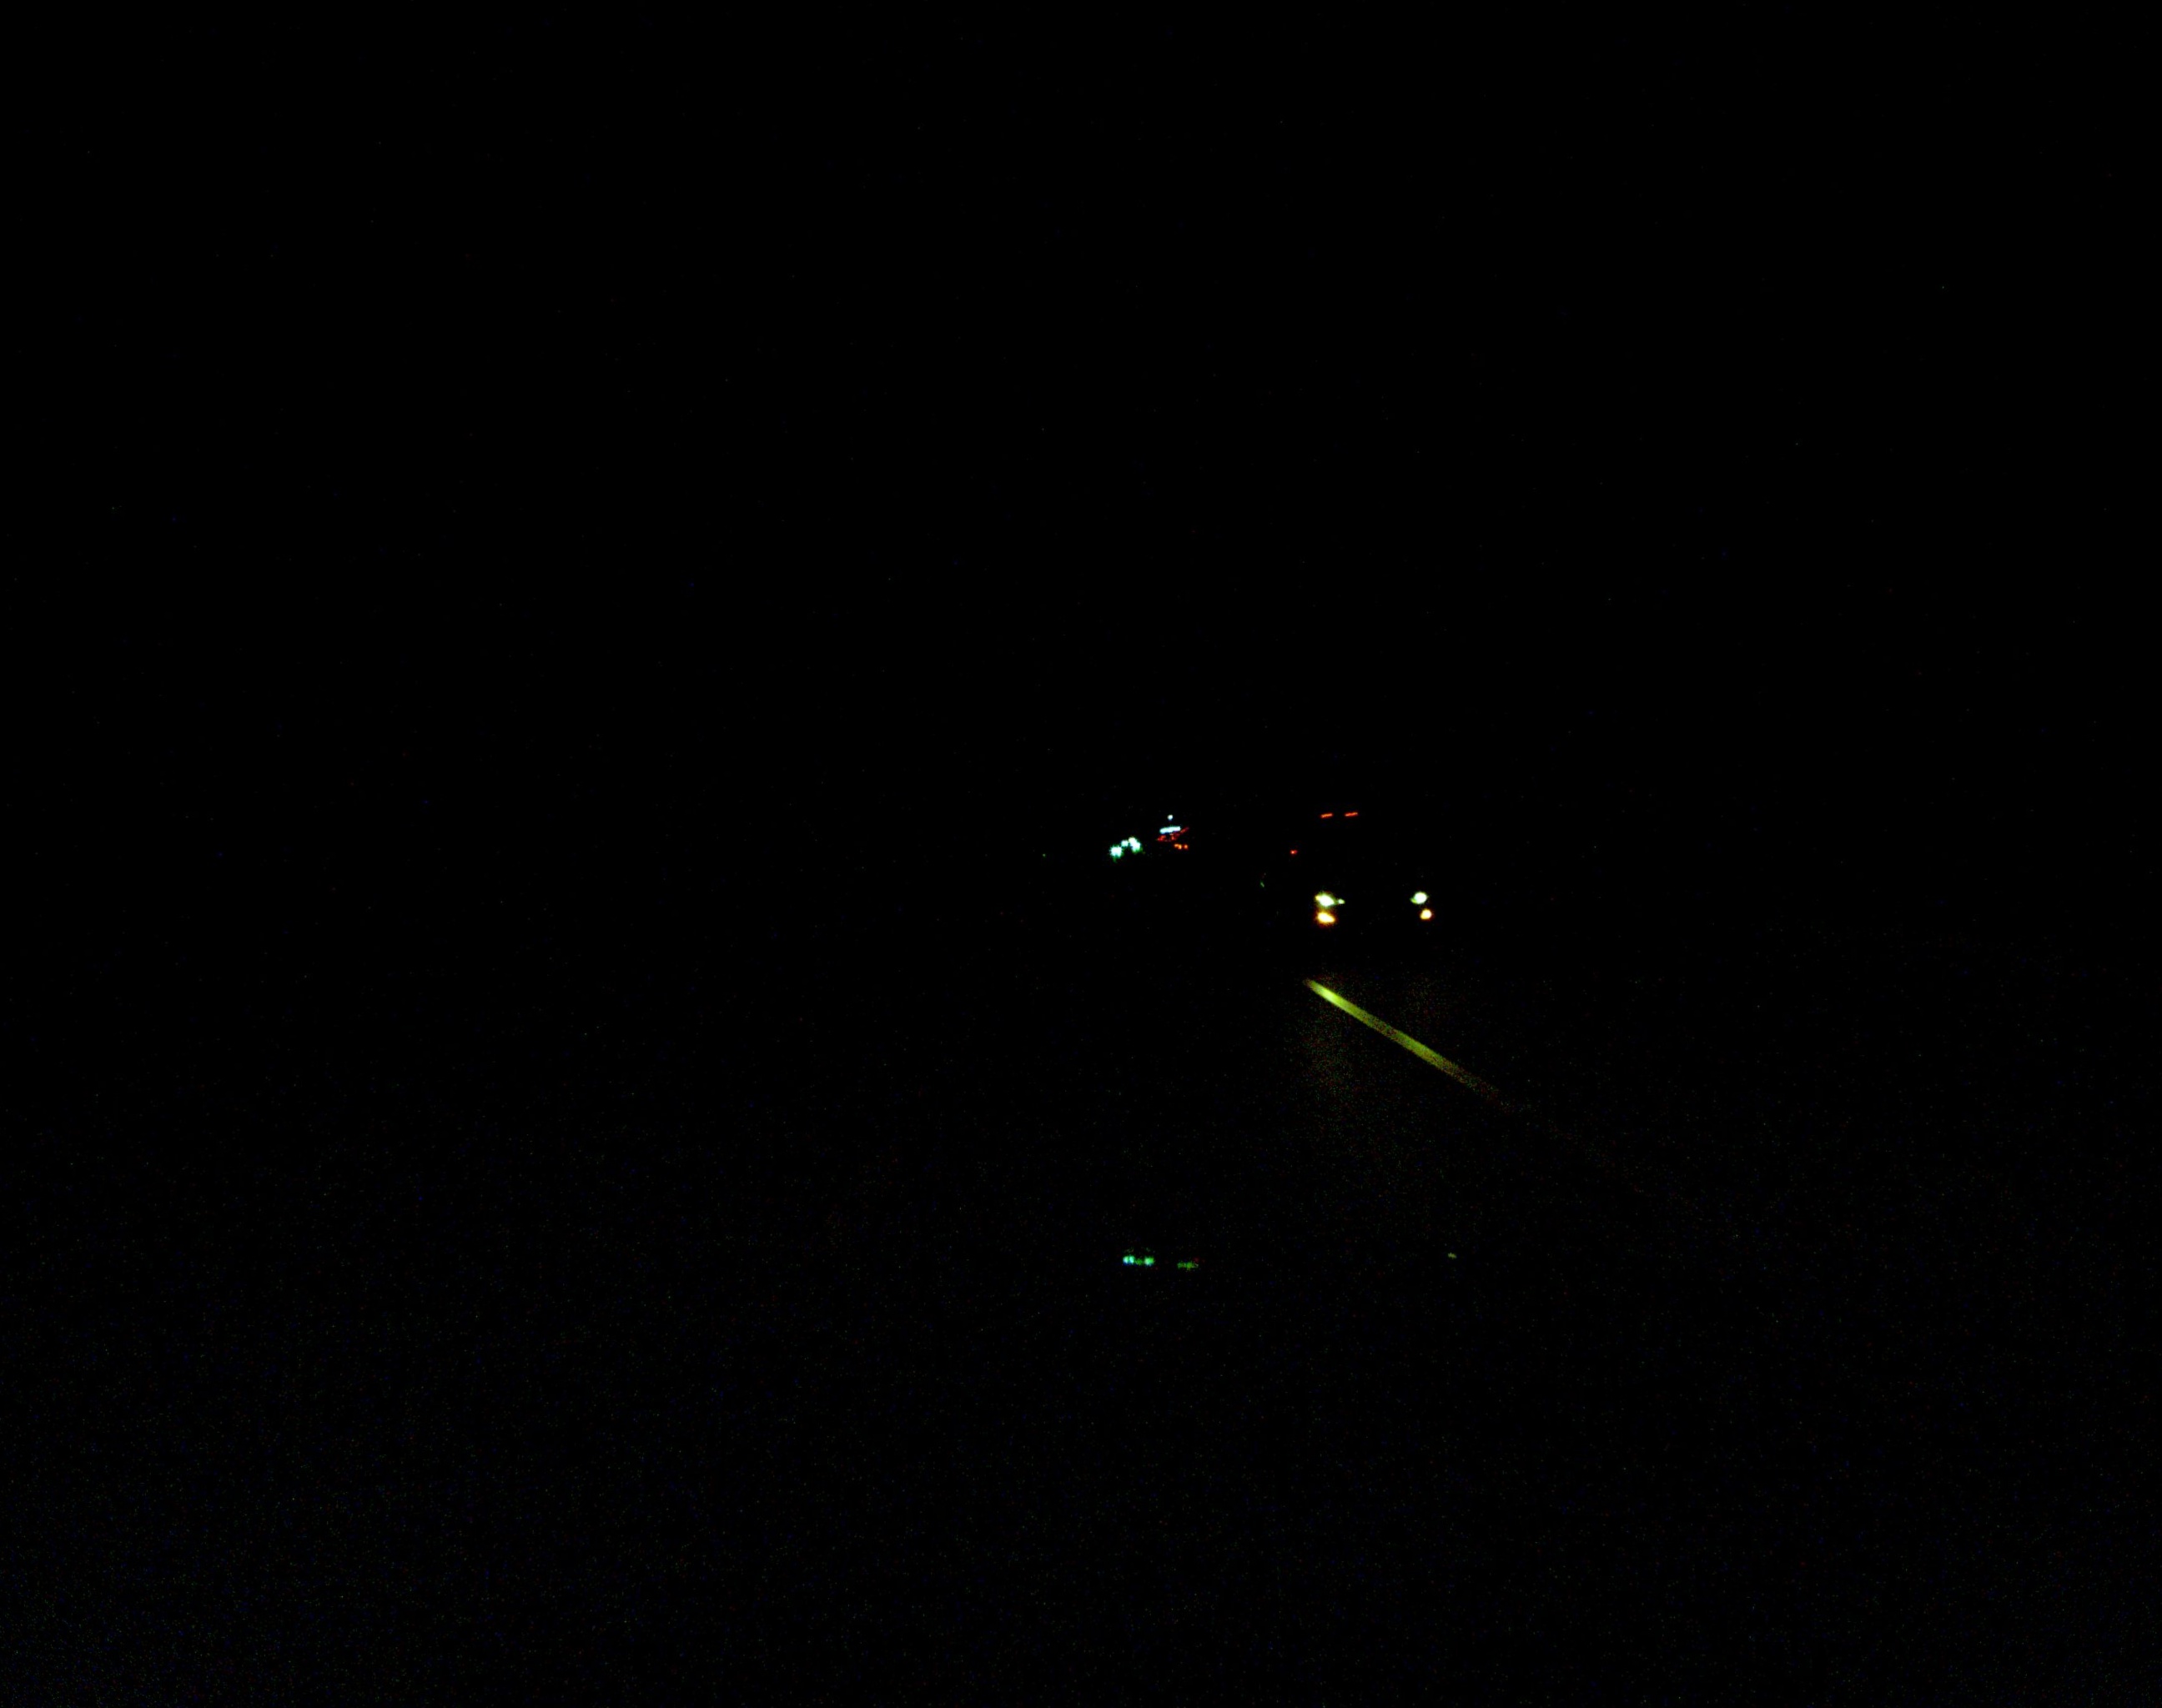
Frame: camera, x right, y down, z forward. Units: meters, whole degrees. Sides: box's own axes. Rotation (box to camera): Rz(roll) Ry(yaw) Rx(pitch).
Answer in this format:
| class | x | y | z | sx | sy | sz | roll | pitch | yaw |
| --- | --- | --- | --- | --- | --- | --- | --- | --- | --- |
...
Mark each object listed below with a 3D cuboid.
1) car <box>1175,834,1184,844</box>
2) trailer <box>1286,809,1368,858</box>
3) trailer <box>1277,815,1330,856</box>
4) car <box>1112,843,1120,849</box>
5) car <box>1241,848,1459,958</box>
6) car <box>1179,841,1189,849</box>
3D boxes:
| class | x | y | z | sx | sy | sz | roll | pitch | yaw |
| --- | --- | --- | --- | --- | --- | --- | --- | --- | --- |
| car | 33.686 | -5.041 | 260.448 | 2.657 | 3.067 | 8.217 | -3 | 0 | 6 |
| trailer | 22.761 | -1.792 | 71.438 | 3.438 | 3.957 | 14.048 | -2 | 1 | 2 |
| trailer | 22.960 | -1.862 | 78.785 | 3.438 | 3.957 | 7.352 | -2 | 1 | 2 |
| car | 9.881 | -2.318 | 213.176 | 1.998 | 1.653 | 3.999 | -2 | 2 | 3 |
| car | 4.517 | 0.742 | 13.913 | 1.998 | 1.509 | 5.651 | -3 | -1 | 1 |
| car | 24.064 | -2.221 | 177.899 | 1.827 | 1.684 | 4.672 | -2 | 2 | 2 |
